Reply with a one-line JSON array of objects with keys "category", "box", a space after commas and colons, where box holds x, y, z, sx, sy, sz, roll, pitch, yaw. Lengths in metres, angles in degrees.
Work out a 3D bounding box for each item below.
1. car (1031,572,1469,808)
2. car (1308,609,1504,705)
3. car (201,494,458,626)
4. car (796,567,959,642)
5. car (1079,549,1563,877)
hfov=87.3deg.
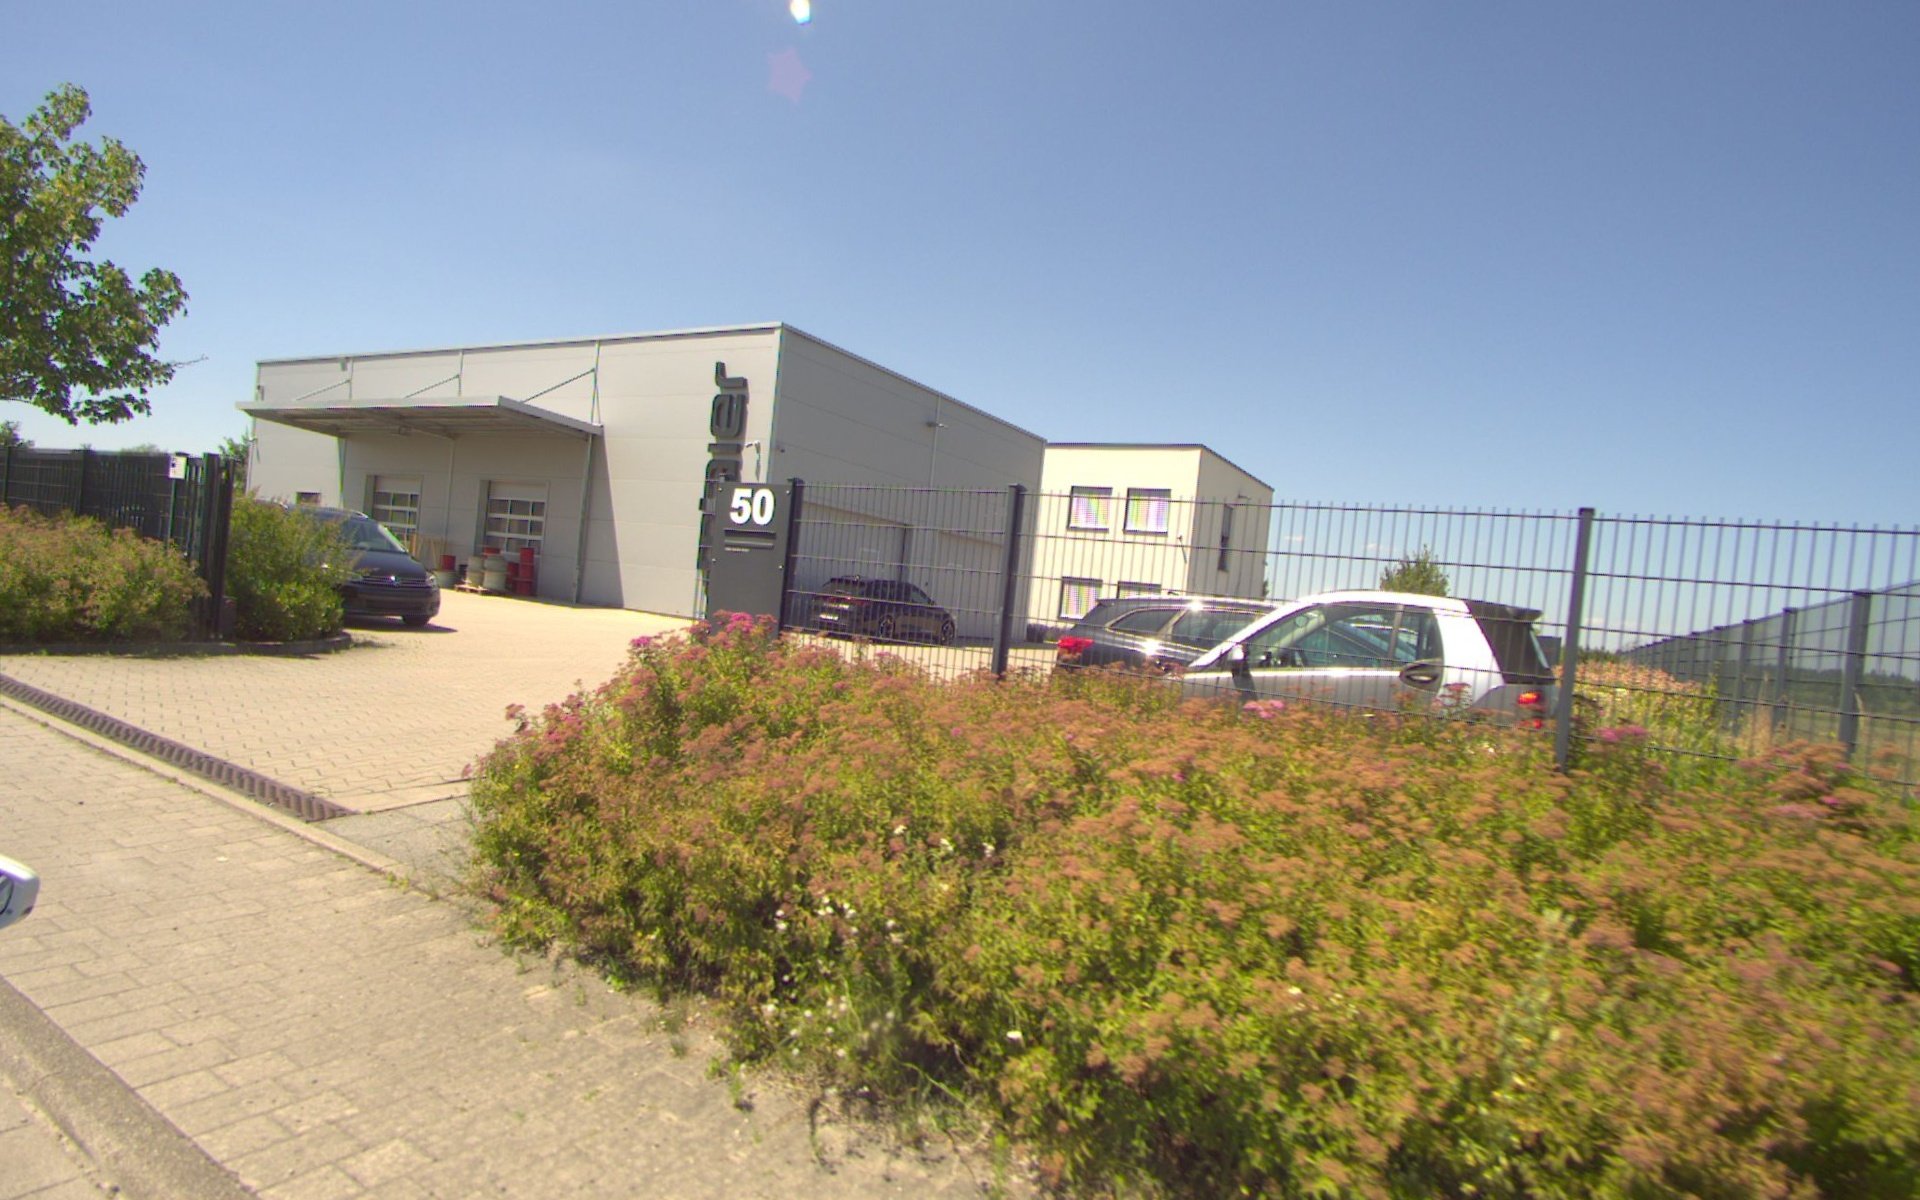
[{"category": "car", "box": [2.475, 0.659, 8.734, 3.276, 1.515, 1.516, 5, 0, 31]}, {"category": "car", "box": [10.809, 1.336, 24.453, 4.057, 1.870, 1.750, 5, 1, 31]}, {"category": "car", "box": [-9.407, -0.599, 14.966, 3.517, 1.573, 1.810, 7, 2, 32]}, {"category": "car", "box": [-1.828, 0.157, 23.560, 1.676, 1.397, 3.990, 8, 2, 31]}, {"category": "car", "box": [2.331, 0.591, 6.549, 2.618, 1.594, 1.467, 5, 1, 32]}]
